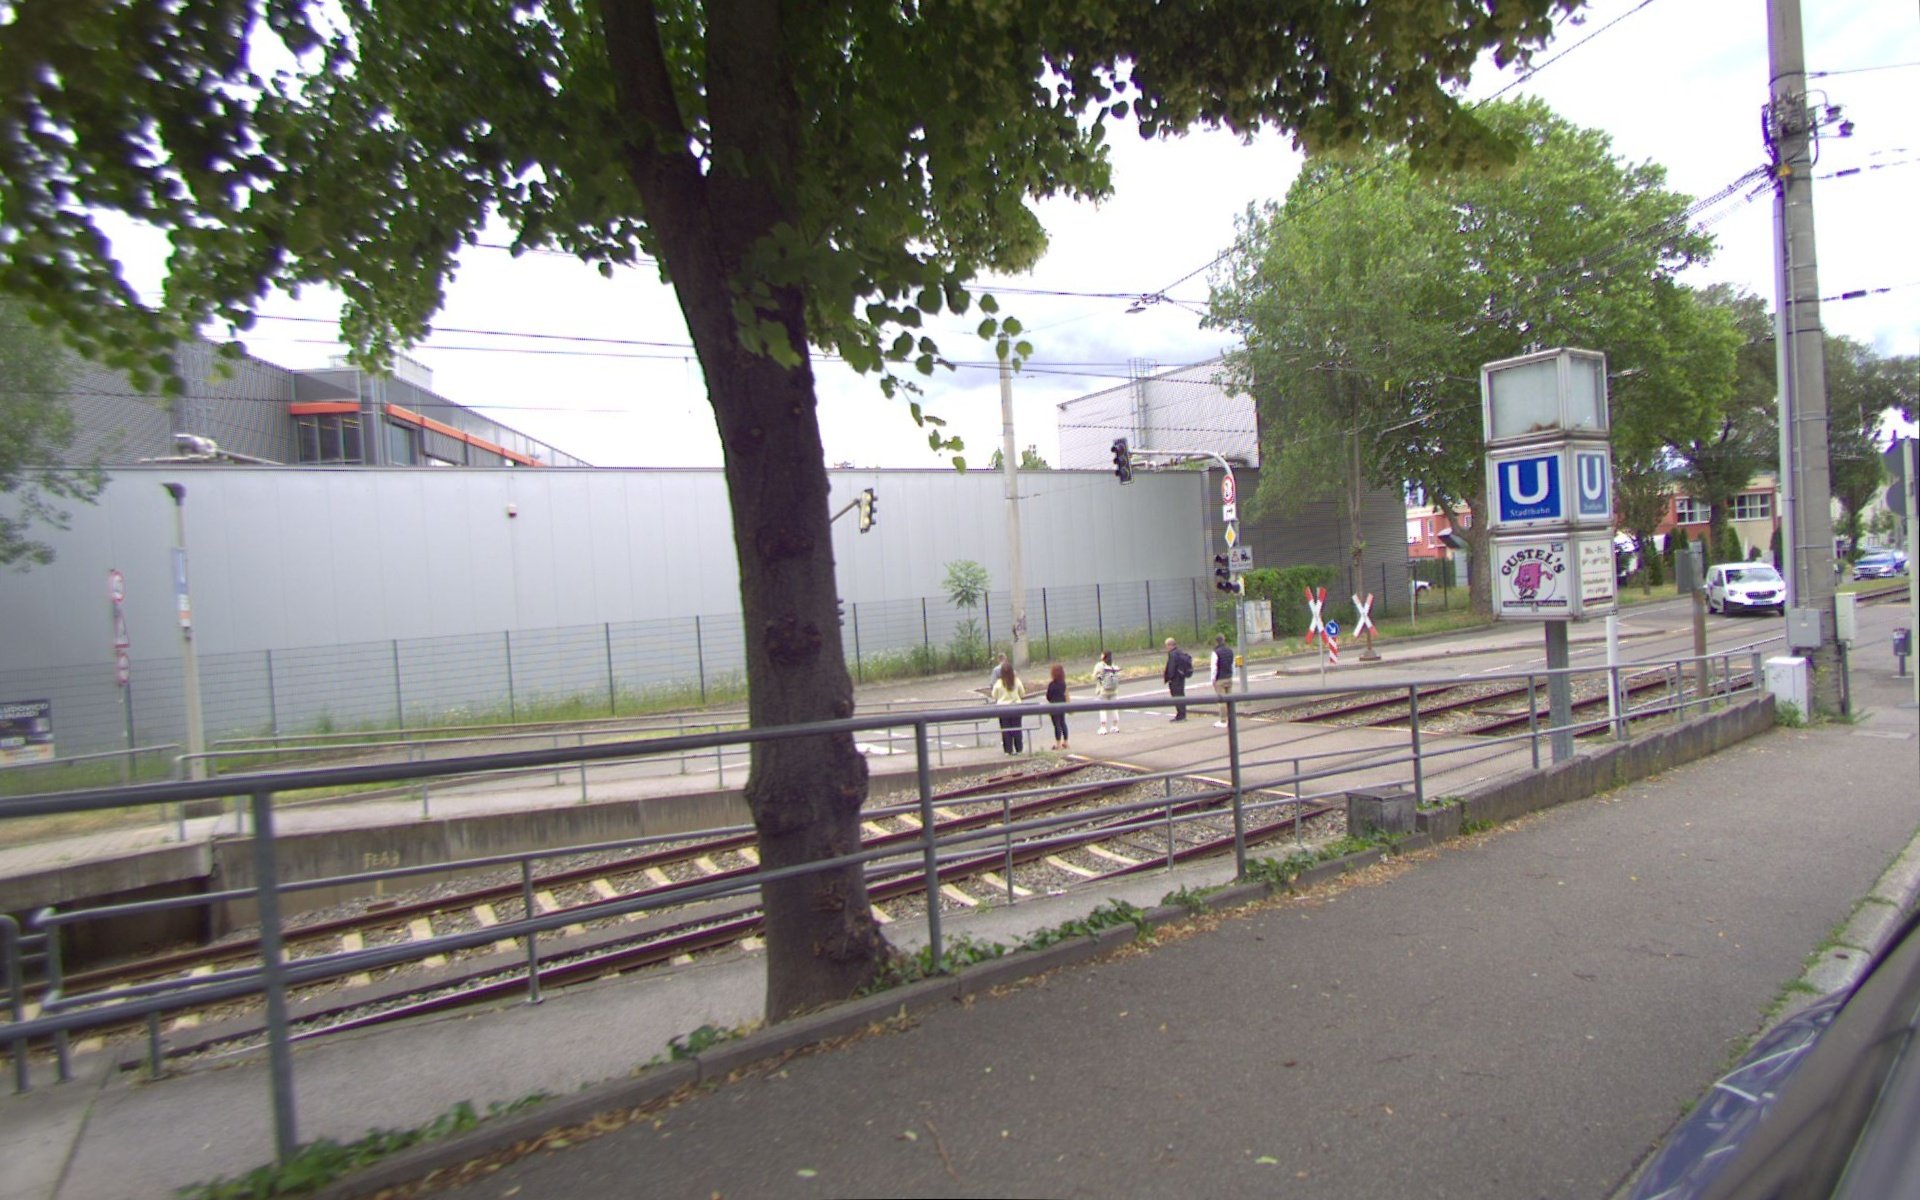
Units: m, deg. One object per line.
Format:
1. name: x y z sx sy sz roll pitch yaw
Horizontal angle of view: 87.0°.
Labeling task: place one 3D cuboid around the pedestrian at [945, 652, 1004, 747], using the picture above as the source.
1. pedestrian: 0.262 1.861 19.156 0.723 1.686 0.682 -4 -2 -30

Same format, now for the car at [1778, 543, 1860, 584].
1. car: 41.660 -1.777 49.031 4.479 1.575 1.998 -5 0 -37

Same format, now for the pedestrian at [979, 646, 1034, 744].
1. pedestrian: 0.901 1.825 19.564 0.723 1.781 0.552 -4 -2 -29

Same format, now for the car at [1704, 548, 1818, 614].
1. car: 28.449 -0.747 36.143 1.979 2.026 4.993 -4 1 25

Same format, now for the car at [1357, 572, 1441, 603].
1. car: 28.085 -0.789 64.812 4.411 1.686 2.003 -4 1 -7

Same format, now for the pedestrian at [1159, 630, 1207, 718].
1. pedestrian: 4.515 1.492 20.491 0.728 1.686 0.678 -6 -2 18

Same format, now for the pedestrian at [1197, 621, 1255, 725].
1. pedestrian: 5.037 1.355 19.200 0.657 1.843 0.806 -5 1 -7

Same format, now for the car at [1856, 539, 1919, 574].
1. car: 51.265 -2.420 55.710 4.479 1.575 1.998 -5 0 -37

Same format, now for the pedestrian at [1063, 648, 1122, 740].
1. pedestrian: 2.579 1.816 19.703 0.724 1.686 0.681 -4 -2 -36
